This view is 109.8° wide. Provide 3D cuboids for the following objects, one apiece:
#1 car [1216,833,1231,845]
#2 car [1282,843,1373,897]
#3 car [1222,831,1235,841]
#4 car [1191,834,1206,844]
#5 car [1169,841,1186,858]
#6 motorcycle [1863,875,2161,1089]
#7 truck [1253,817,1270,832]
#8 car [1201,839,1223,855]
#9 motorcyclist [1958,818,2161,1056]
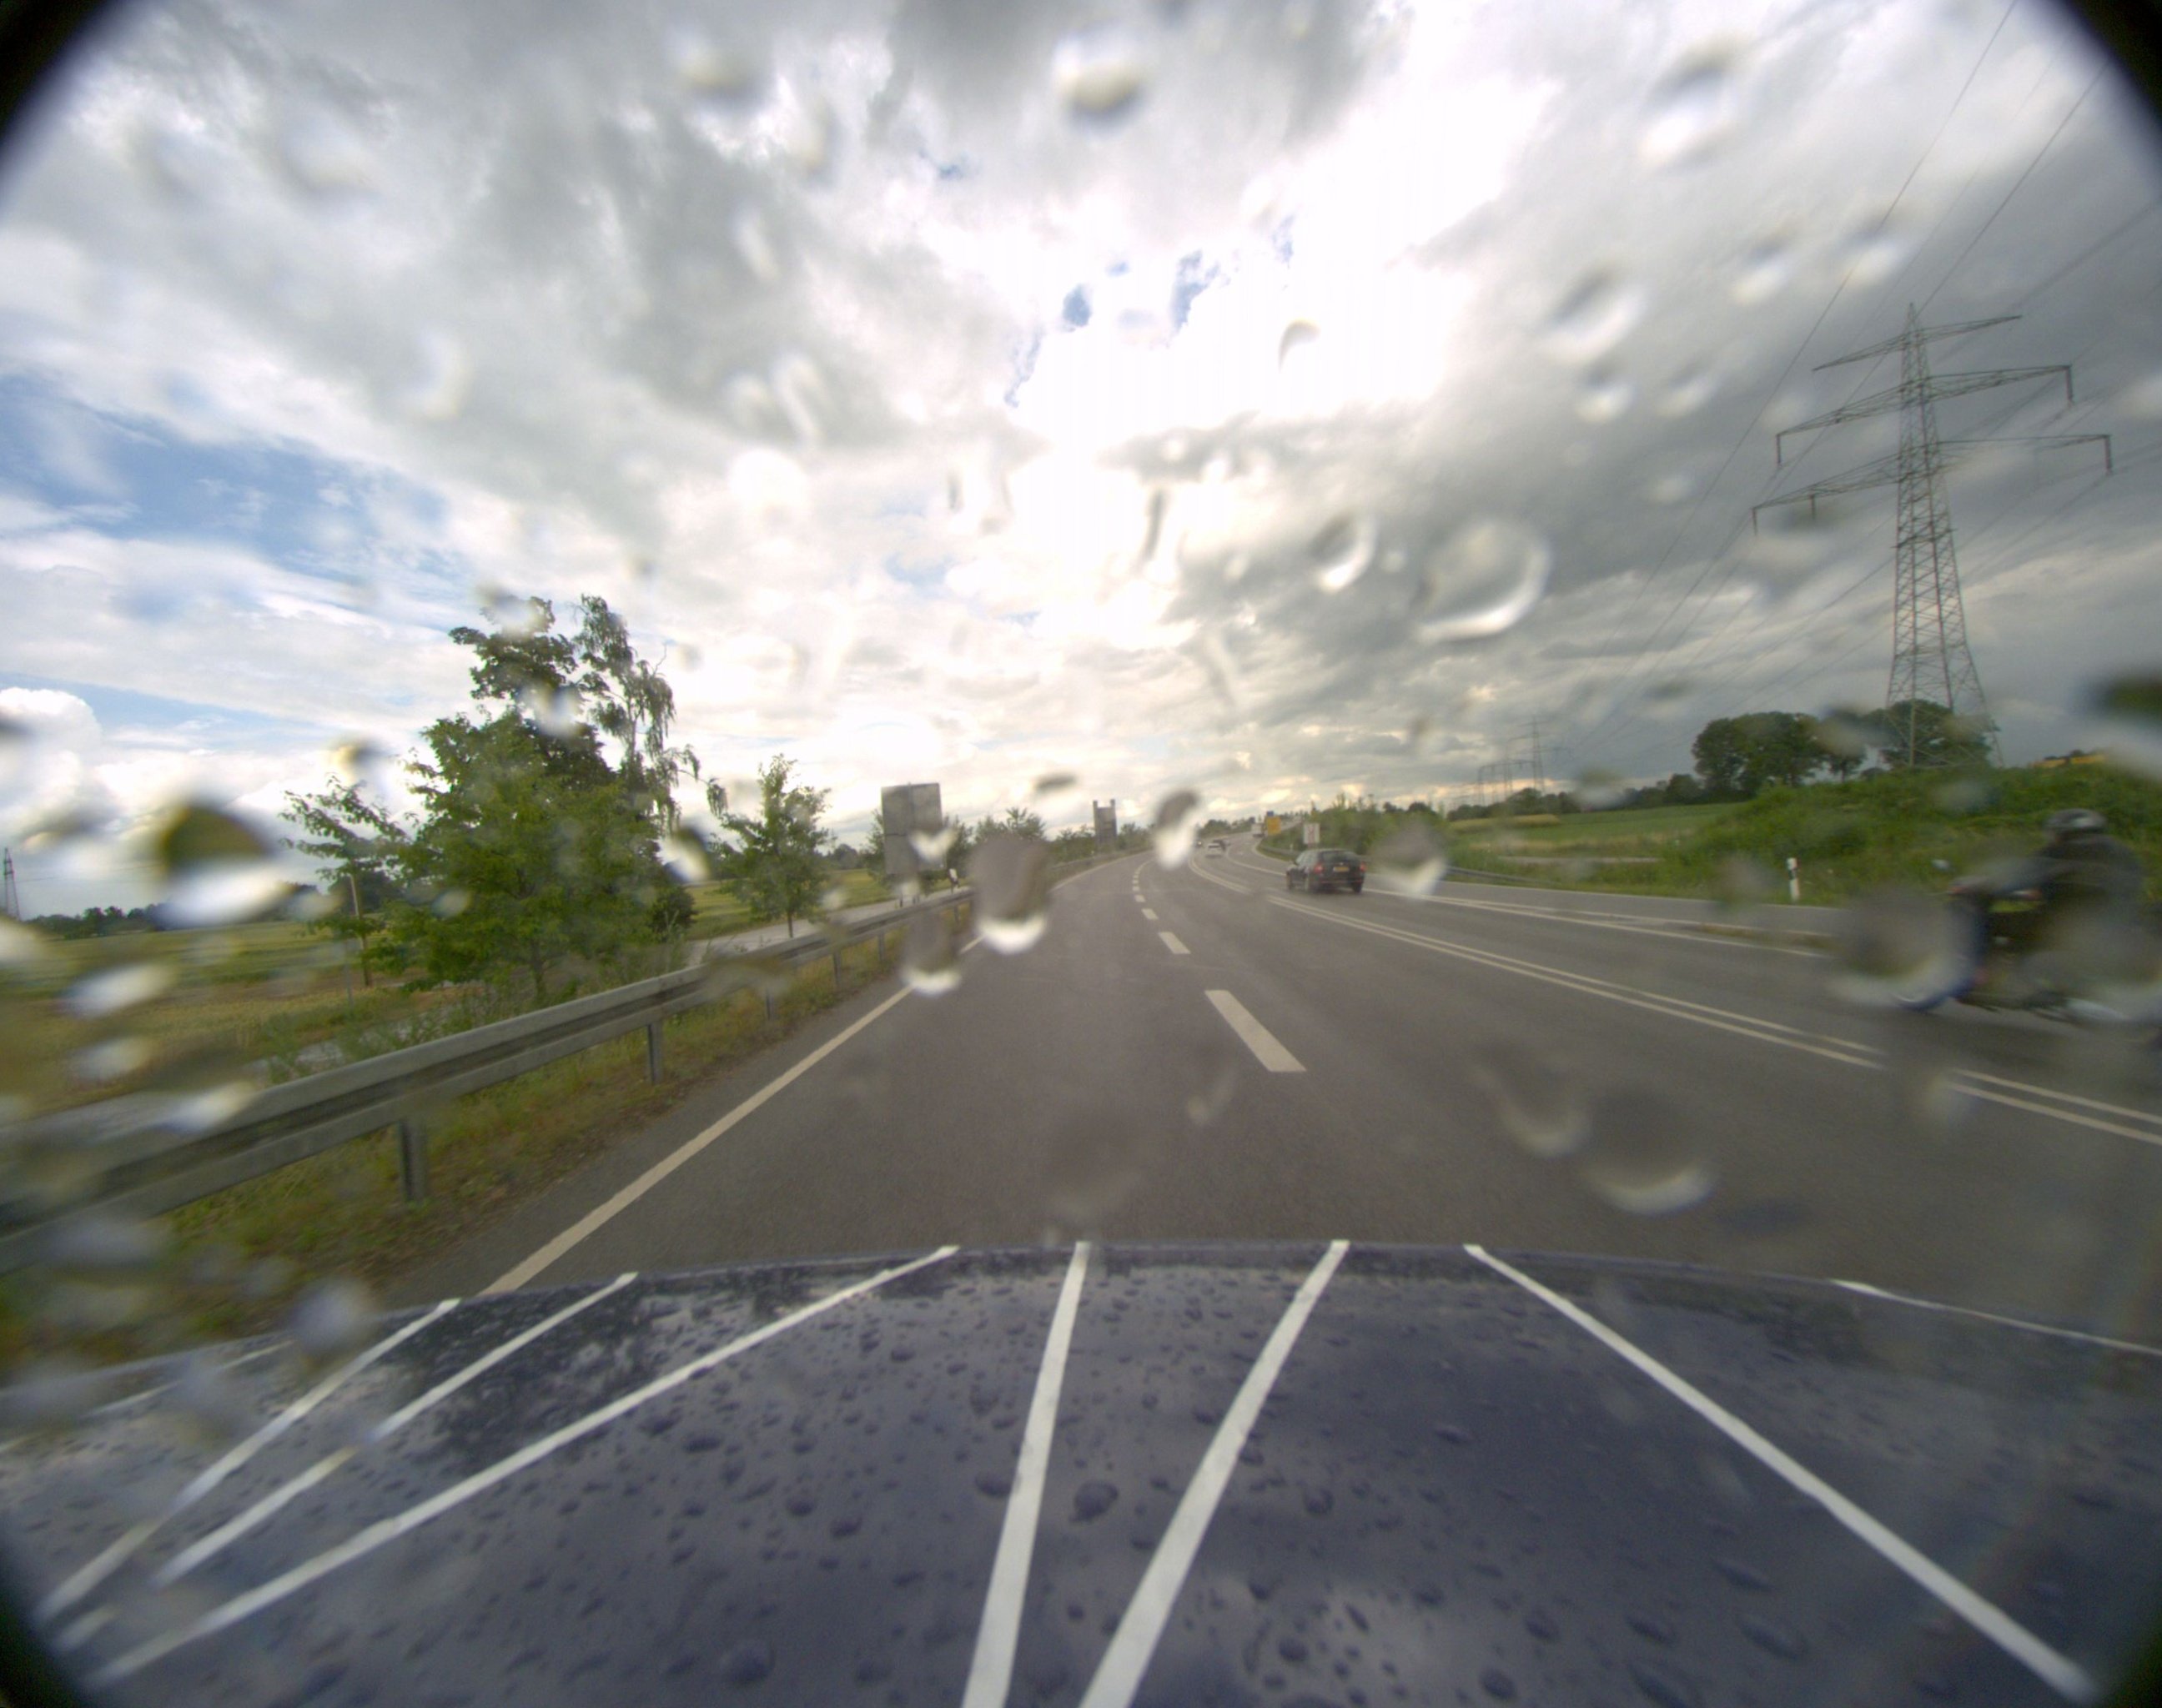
[{"bbox_3d":[19.773,-2.126,105.317,1.802,1.566,4.263,-1,2,15],"label":"car"},{"bbox_3d":[8.134,0.459,25.457,1.804,1.585,4.225,-2,1,3],"label":"car"},{"bbox_3d":[25.600,-3.117,131.419,1.681,1.449,4.079,-3,1,18],"label":"car"},{"bbox_3d":[19.749,-2.555,127.823,1.746,1.488,4.055,-3,1,19],"label":"car"},{"bbox_3d":[10.848,-0.551,85.723,1.795,1.758,4.001,-3,1,6],"label":"car"},{"bbox_3d":[7.054,0.815,5.370,0.804,1.231,2.185,-3,0,1],"label":"motorcycle"},{"bbox_3d":[40.091,-6.574,168.436,2.258,3.138,6.699,0,2,25],"label":"truck"},{"bbox_3d":[13.567,-0.717,79.015,1.709,1.472,4.610,-2,2,4],"label":"car"},{"bbox_3d":[7.044,0.531,5.326,0.804,1.526,0.824,-3,1,1],"label":"motorcyclist"}]
